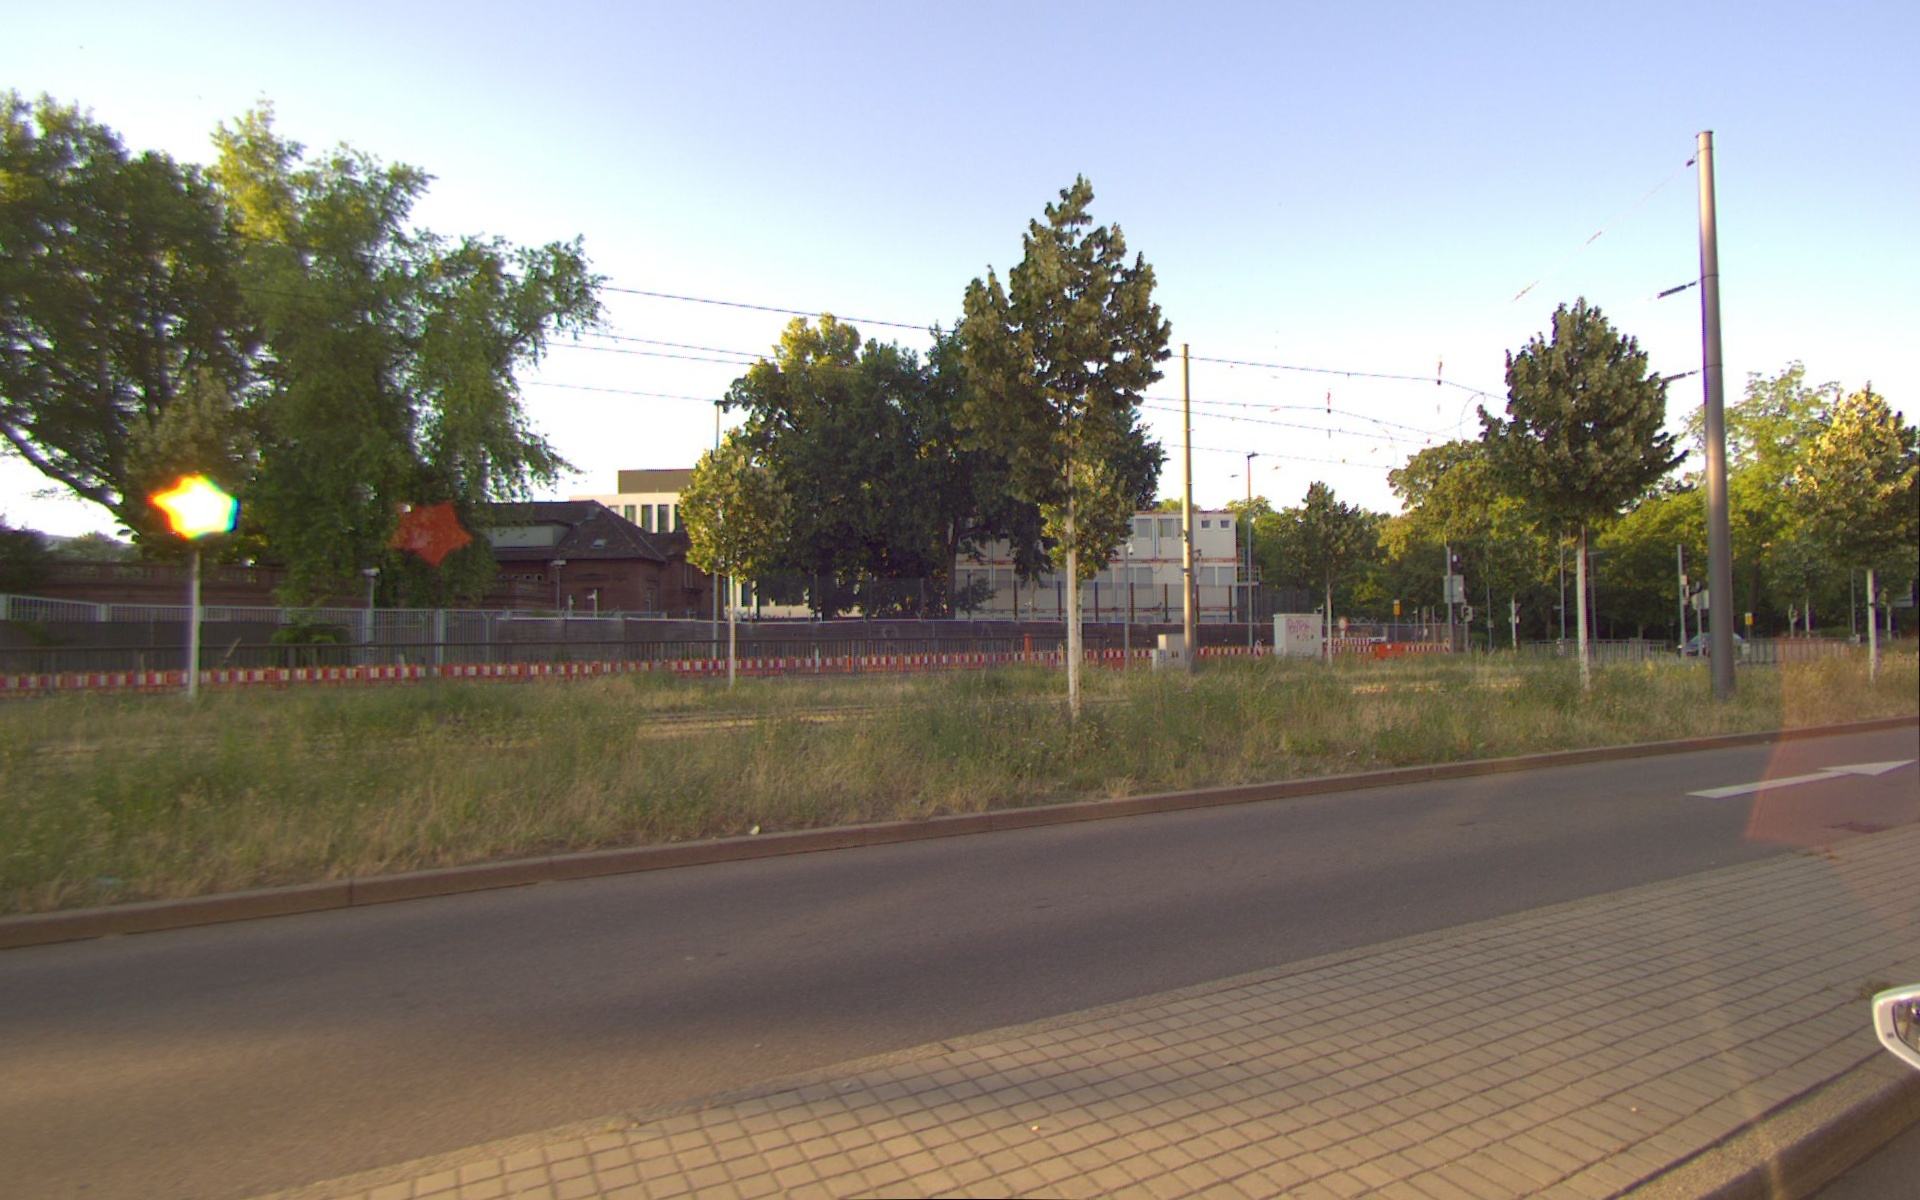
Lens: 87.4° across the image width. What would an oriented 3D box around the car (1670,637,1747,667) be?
[{"bbox_3d":[43.805,3.001,58.751,4.465,1.501,1.924,-1,0,-28],"label":"car"}]
